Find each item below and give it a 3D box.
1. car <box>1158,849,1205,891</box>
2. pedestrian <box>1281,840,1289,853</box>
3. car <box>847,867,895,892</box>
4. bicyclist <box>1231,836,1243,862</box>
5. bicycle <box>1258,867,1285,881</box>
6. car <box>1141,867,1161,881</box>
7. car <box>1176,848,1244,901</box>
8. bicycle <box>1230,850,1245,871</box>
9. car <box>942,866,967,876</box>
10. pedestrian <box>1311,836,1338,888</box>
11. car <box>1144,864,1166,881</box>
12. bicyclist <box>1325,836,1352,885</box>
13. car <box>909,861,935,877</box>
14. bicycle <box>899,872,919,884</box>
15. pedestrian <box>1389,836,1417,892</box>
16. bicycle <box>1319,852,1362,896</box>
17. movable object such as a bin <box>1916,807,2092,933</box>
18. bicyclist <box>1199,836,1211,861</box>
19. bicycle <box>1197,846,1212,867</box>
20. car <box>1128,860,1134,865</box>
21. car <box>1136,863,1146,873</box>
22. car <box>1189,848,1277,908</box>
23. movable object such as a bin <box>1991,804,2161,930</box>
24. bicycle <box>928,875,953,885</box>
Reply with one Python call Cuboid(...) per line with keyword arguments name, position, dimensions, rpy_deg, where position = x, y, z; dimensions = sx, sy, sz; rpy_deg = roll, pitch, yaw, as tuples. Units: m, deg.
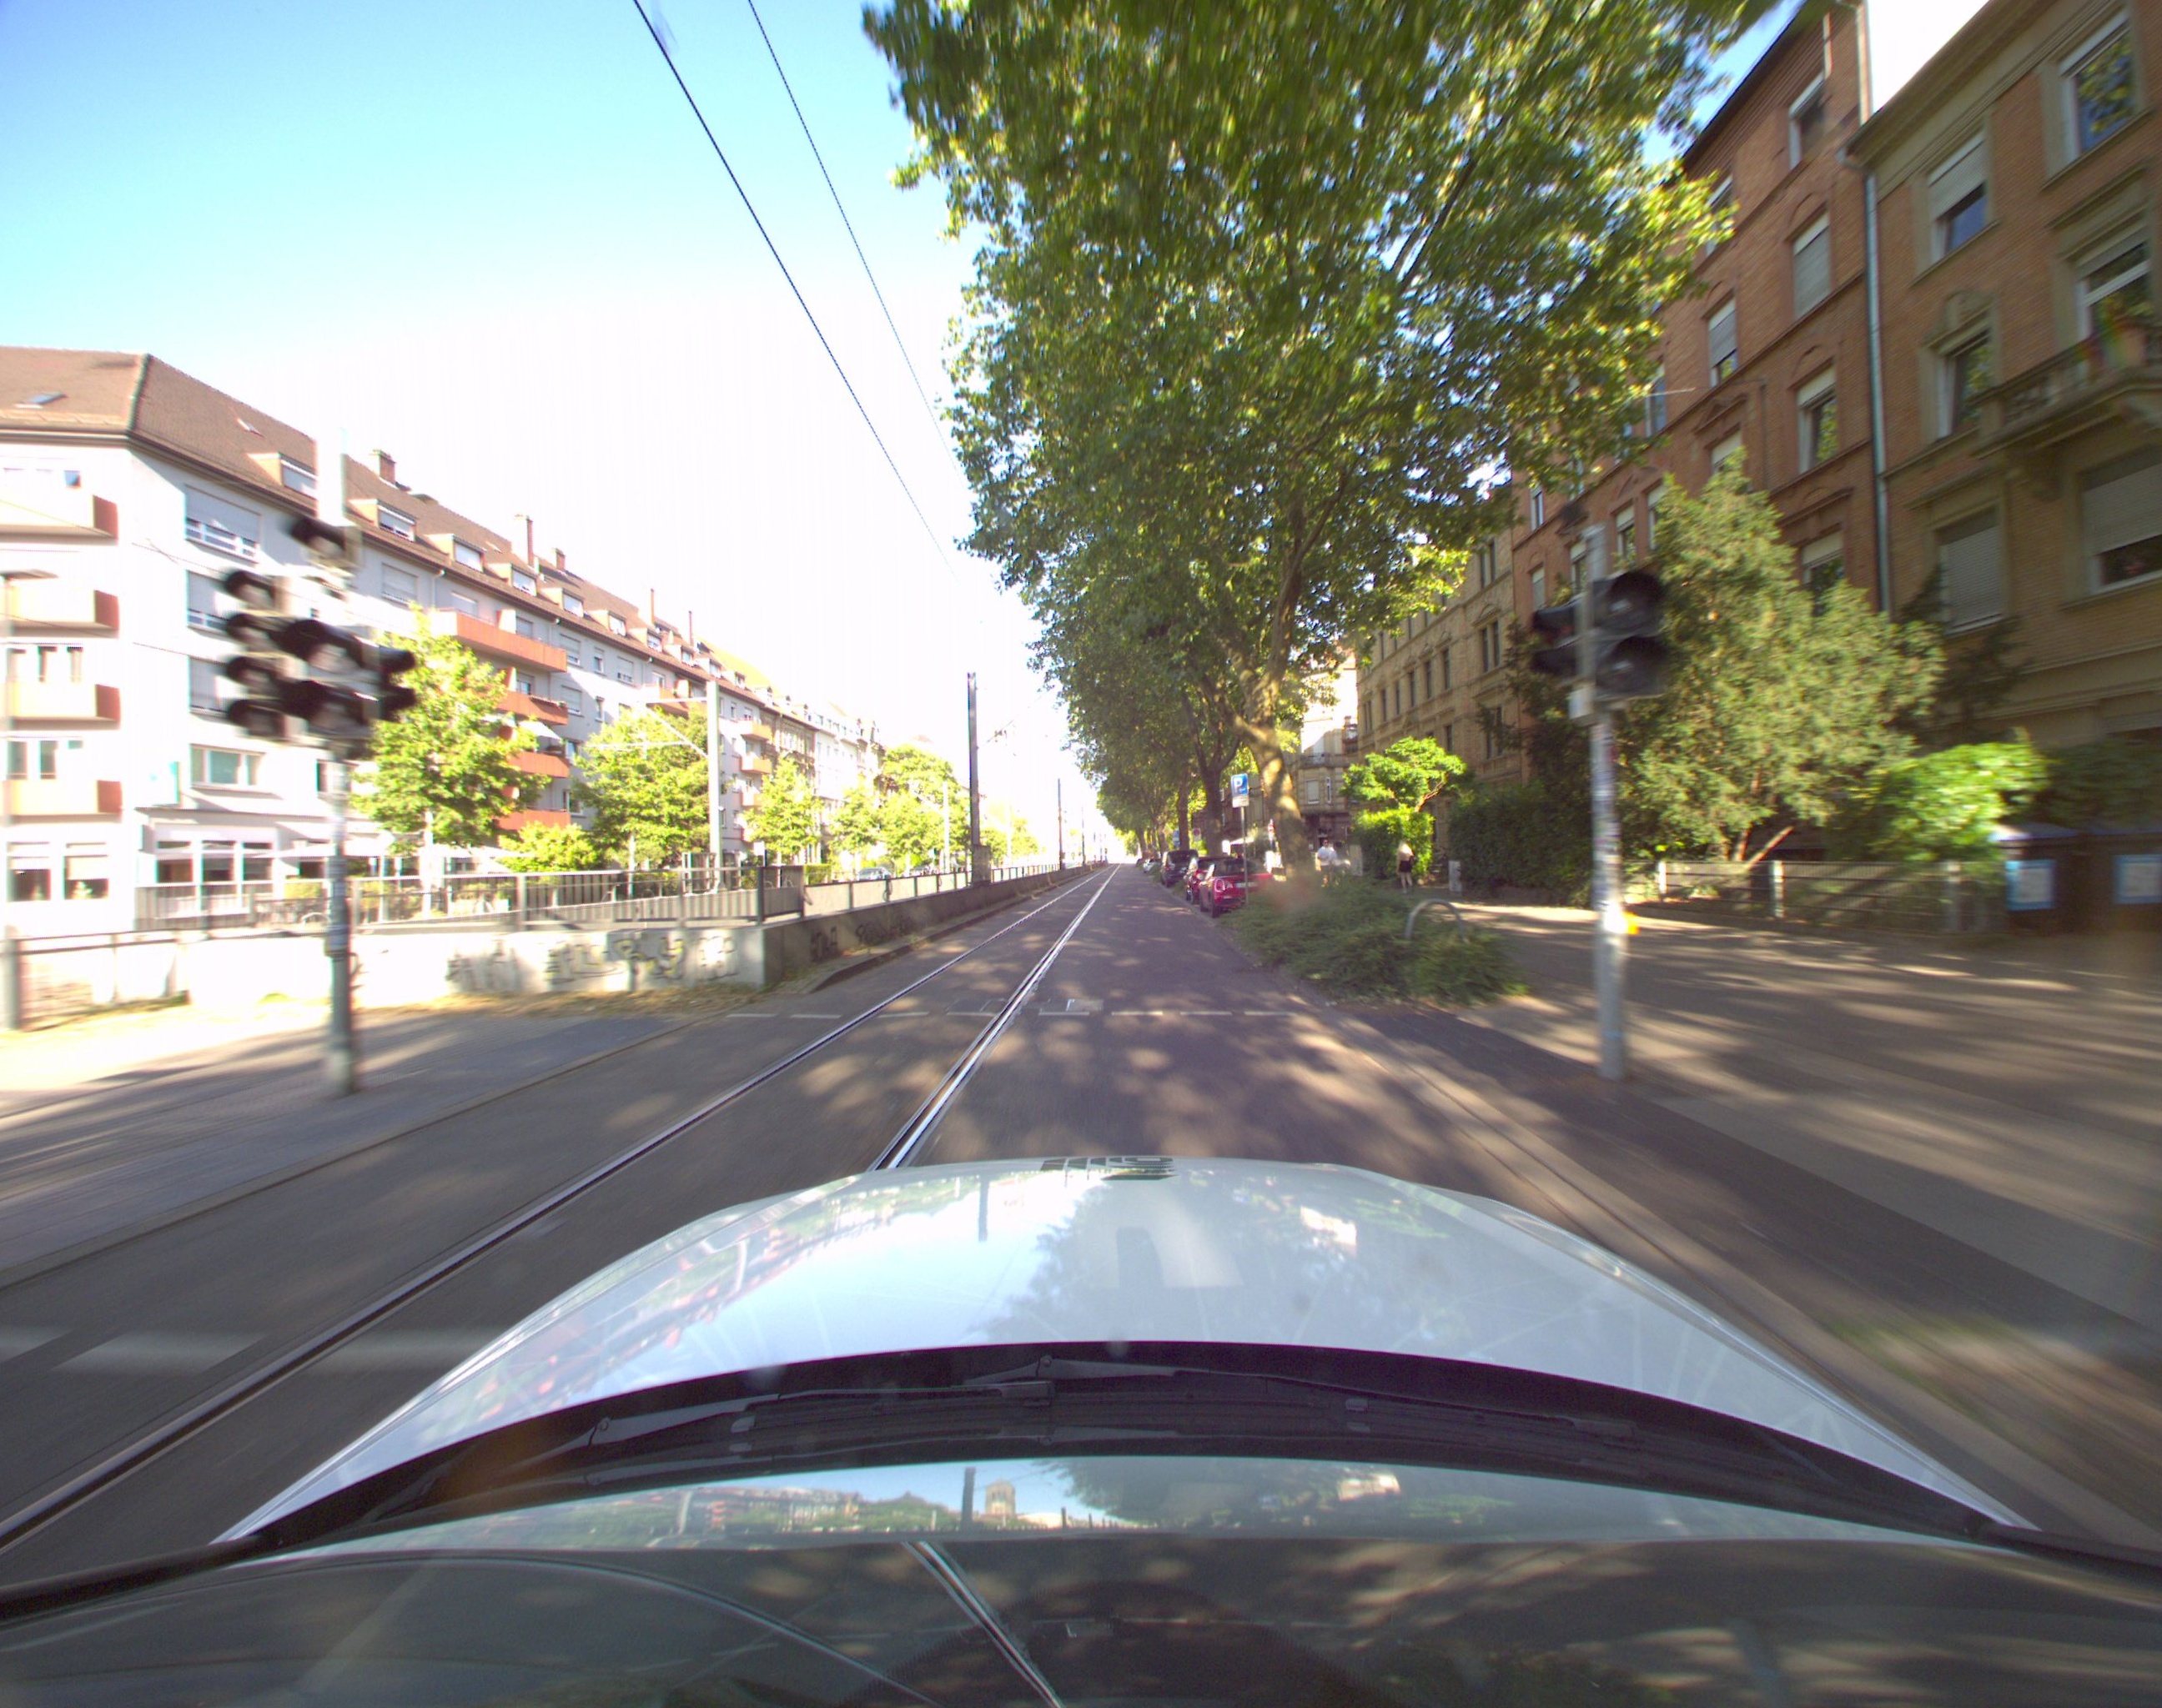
Cuboid(name="car", position=(5.334, 0.833, 43.739), dimensions=(1.986, 2.014, 5.203), rpy_deg=(-2, -1, 2))
Cuboid(name="pedestrian", position=(17.511, -0.639, 70.059), dimensions=(0.554, 1.138, 0.526), rpy_deg=(-1, -1, 2))
Cuboid(name="car", position=(-13.915, 1.672, 54.140), dimensions=(1.964, 1.504, 4.408), rpy_deg=(1, -1, 1))
Cuboid(name="bicyclist", position=(9.018, -0.279, 47.022), dimensions=(0.567, 1.487, 0.644), rpy_deg=(-2, -1, 2))
Cuboid(name="bicycle", position=(13.158, 1.352, 56.270), dimensions=(1.690, 0.917, 0.601), rpy_deg=(-1, -1, -9))
Cuboid(name="car", position=(6.964, 1.957, 81.257), dimensions=(1.822, 1.327, 4.003), rpy_deg=(-1, -1, 3))
Cuboid(name="car", position=(4.274, 0.702, 27.518), dimensions=(1.707, 1.549, 4.503), rpy_deg=(-3, -2, 3))
Cuboid(name="bicycle", position=(9.042, 0.411, 47.140), dimensions=(0.558, 1.178, 2.022), rpy_deg=(-1, -2, 2))
Cuboid(name="car", position=(-20.662, 2.725, 133.257), dimensions=(3.982, 1.624, 1.821), rpy_deg=(0, -1, -6))
Cuboid(name="pedestrian", position=(8.472, 0.276, 28.360), dimensions=(0.686, 1.785, 0.644), rpy_deg=(-2, 0, 1))
Cuboid(name="car", position=(6.897, 1.739, 76.034), dimensions=(1.795, 1.477, 4.649), rpy_deg=(-1, -1, 2))
Cuboid(name="bicyclist", position=(7.421, 0.187, 23.504), dimensions=(0.541, 1.380, 0.644), rpy_deg=(-2, 0, 1))
Cuboid(name="car", position=(-16.885, 1.618, 86.479), dimensions=(1.826, 1.585, 4.000), rpy_deg=(1, -1, 1))
Cuboid(name="bicycle", position=(-17.533, 2.410, 83.053), dimensions=(1.799, 1.178, 0.563), rpy_deg=(1, -1, 5))
Cuboid(name="pedestrian", position=(9.614, 0.283, 24.310), dimensions=(0.528, 1.628, 0.618), rpy_deg=(-3, 0, 3))
Cuboid(name="bicycle", position=(7.445, 0.559, 23.497), dimensions=(0.558, 1.178, 2.227), rpy_deg=(-2, 0, 2))
Cuboid(name="movable object such as a bin", position=(11.603, 0.201, 10.293), dimensions=(0.903, 1.464, 1.084), rpy_deg=(-3, -1, 1))
Cuboid(name="bicyclist", position=(7.175, -0.298, 47.070), dimensions=(0.567, 1.381, 0.644), rpy_deg=(-2, -2, 2))
Cuboid(name="bicycle", position=(7.152, 0.161, 47.298), dimensions=(0.558, 1.178, 2.227), rpy_deg=(3, -2, 2))
Cuboid(name="car", position=(14.962, 2.535, 243.638), dimensions=(1.738, 1.462, 3.646), rpy_deg=(1, -1, 2))
Cuboid(name="car", position=(10.677, 2.494, 145.706), dimensions=(1.610, 1.587, 4.419), rpy_deg=(-2, -1, 2))
Cuboid(name="car", position=(3.934, 0.646, 21.680), dimensions=(1.708, 1.462, 4.001), rpy_deg=(0, -2, 2))
Cuboid(name="movable object such as a bin", position=(12.633, 0.159, 10.321), dimensions=(0.903, 1.464, 1.084), rpy_deg=(-3, -1, 1))
Cuboid(name="bicycle", position=(-16.219, 3.005, 94.291), dimensions=(2.794, 1.098, 0.637), rpy_deg=(2, -1, -30))
